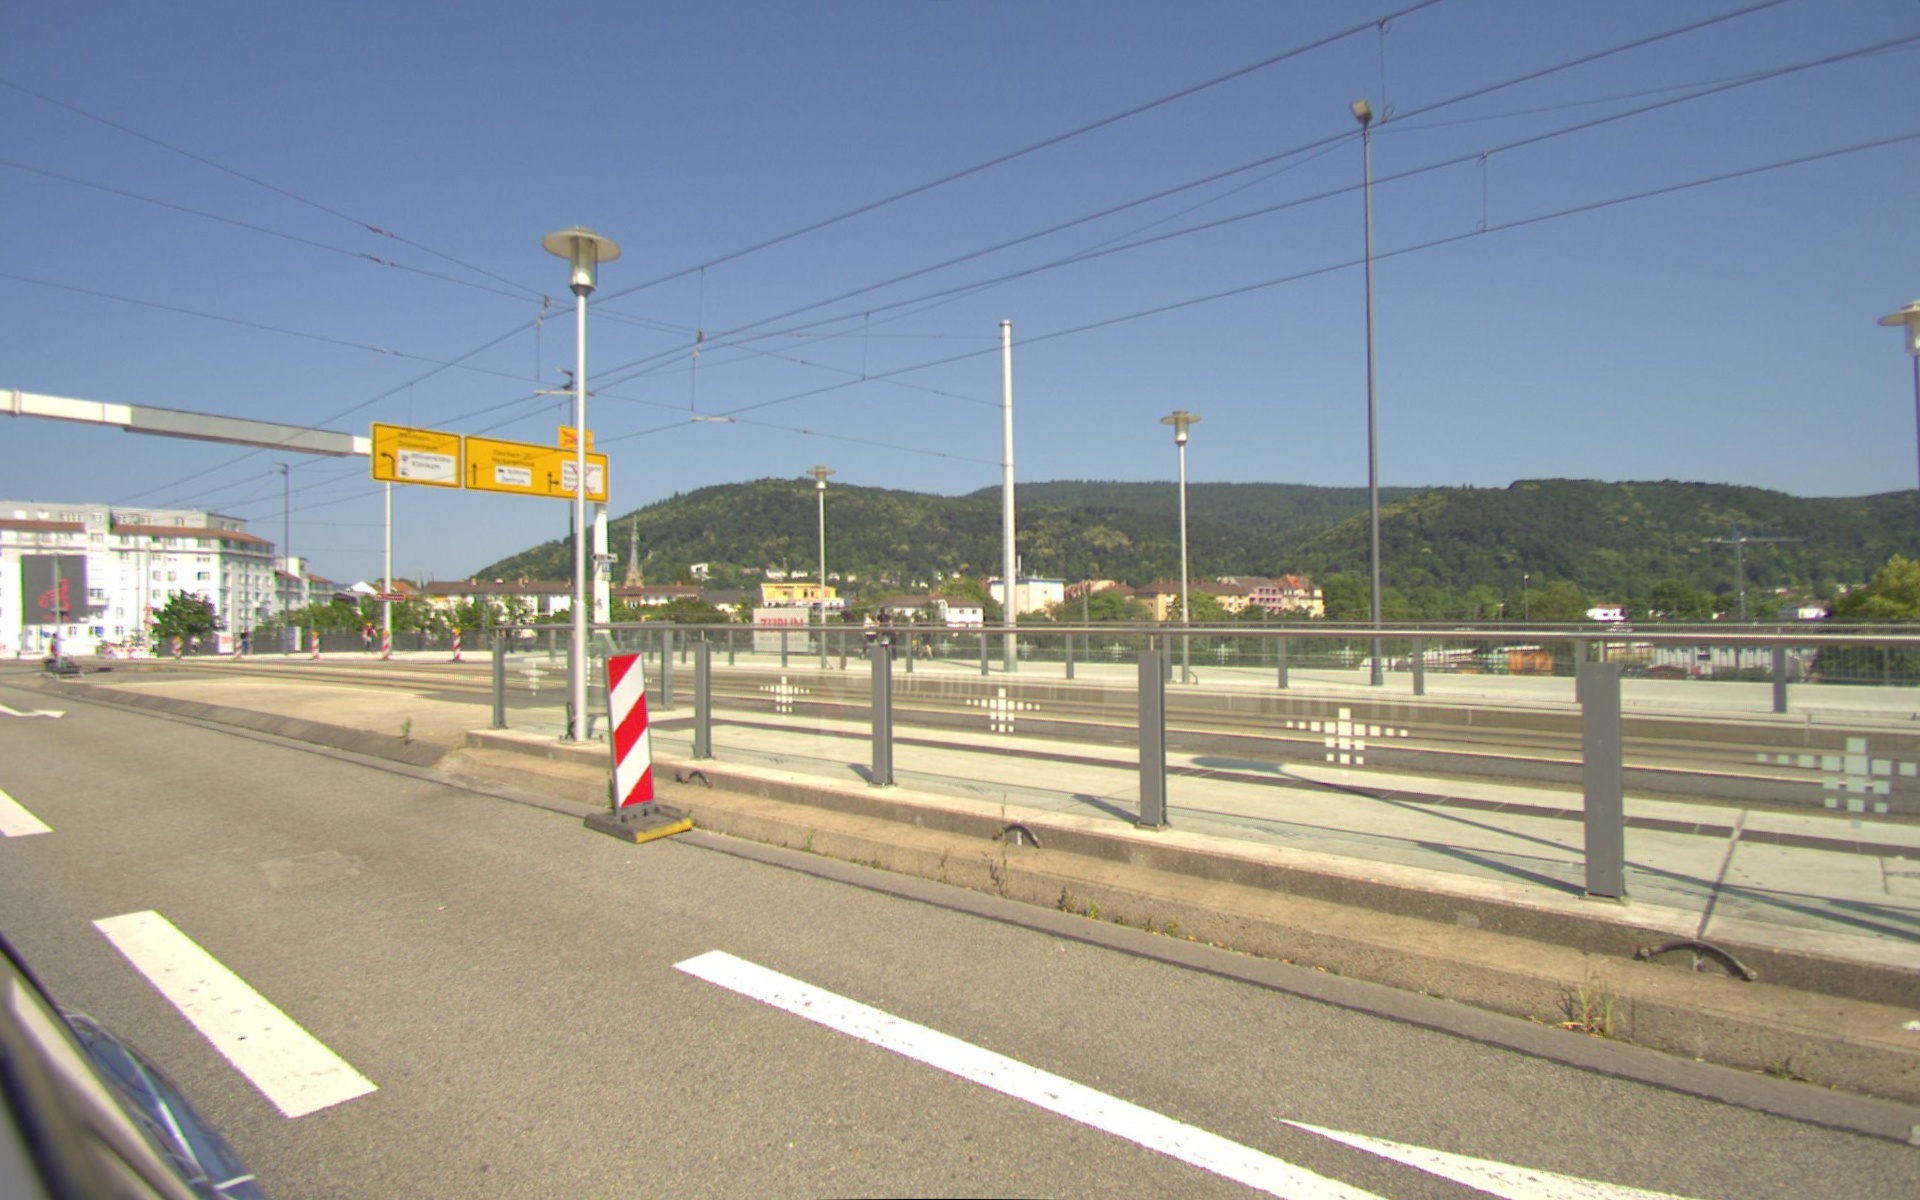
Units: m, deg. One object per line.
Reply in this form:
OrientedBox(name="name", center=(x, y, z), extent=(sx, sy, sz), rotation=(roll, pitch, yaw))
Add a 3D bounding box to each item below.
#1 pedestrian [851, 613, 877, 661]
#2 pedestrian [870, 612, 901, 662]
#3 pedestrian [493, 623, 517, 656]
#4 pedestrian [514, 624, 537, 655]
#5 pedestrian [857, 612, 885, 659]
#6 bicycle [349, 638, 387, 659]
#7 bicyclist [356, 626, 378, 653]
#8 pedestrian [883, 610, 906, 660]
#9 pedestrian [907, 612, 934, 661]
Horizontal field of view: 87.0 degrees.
OrientedBox(name="pedestrian", center=(-3.410, 1.313, 35.903), extent=(0.807, 1.700, 0.481), rotation=(-3, -3, 41))
OrientedBox(name="pedestrian", center=(-2.551, 1.267, 34.713), extent=(0.731, 1.700, 0.745), rotation=(-3, -3, 41))
OrientedBox(name="pedestrian", center=(-23.494, 2.040, 52.305), extent=(0.893, 1.654, 0.737), rotation=(-3, 0, 38))
OrientedBox(name="pedestrian", center=(-22.709, 2.046, 52.894), extent=(0.887, 1.556, 0.713), rotation=(-3, 0, 38))
OrientedBox(name="pedestrian", center=(-3.220, 1.280, 36.631), extent=(0.817, 1.700, 0.591), rotation=(-3, -3, 41))
OrientedBox(name="bicycle", center=(-34.846, 2.870, 59.547), extent=(3.067, 1.204, 0.848), rotation=(-3, -1, 37))
OrientedBox(name="bicyclist", center=(-34.945, 2.308, 59.616), extent=(0.816, 1.530, 0.848), rotation=(-3, -1, 37))
OrientedBox(name="pedestrian", center=(-2.295, 1.226, 35.429), extent=(0.770, 1.700, 0.379), rotation=(-3, -3, 41))
OrientedBox(name="pedestrian", center=(-1.368, 1.263, 34.989), extent=(0.772, 1.700, 0.498), rotation=(-3, -3, 41))
